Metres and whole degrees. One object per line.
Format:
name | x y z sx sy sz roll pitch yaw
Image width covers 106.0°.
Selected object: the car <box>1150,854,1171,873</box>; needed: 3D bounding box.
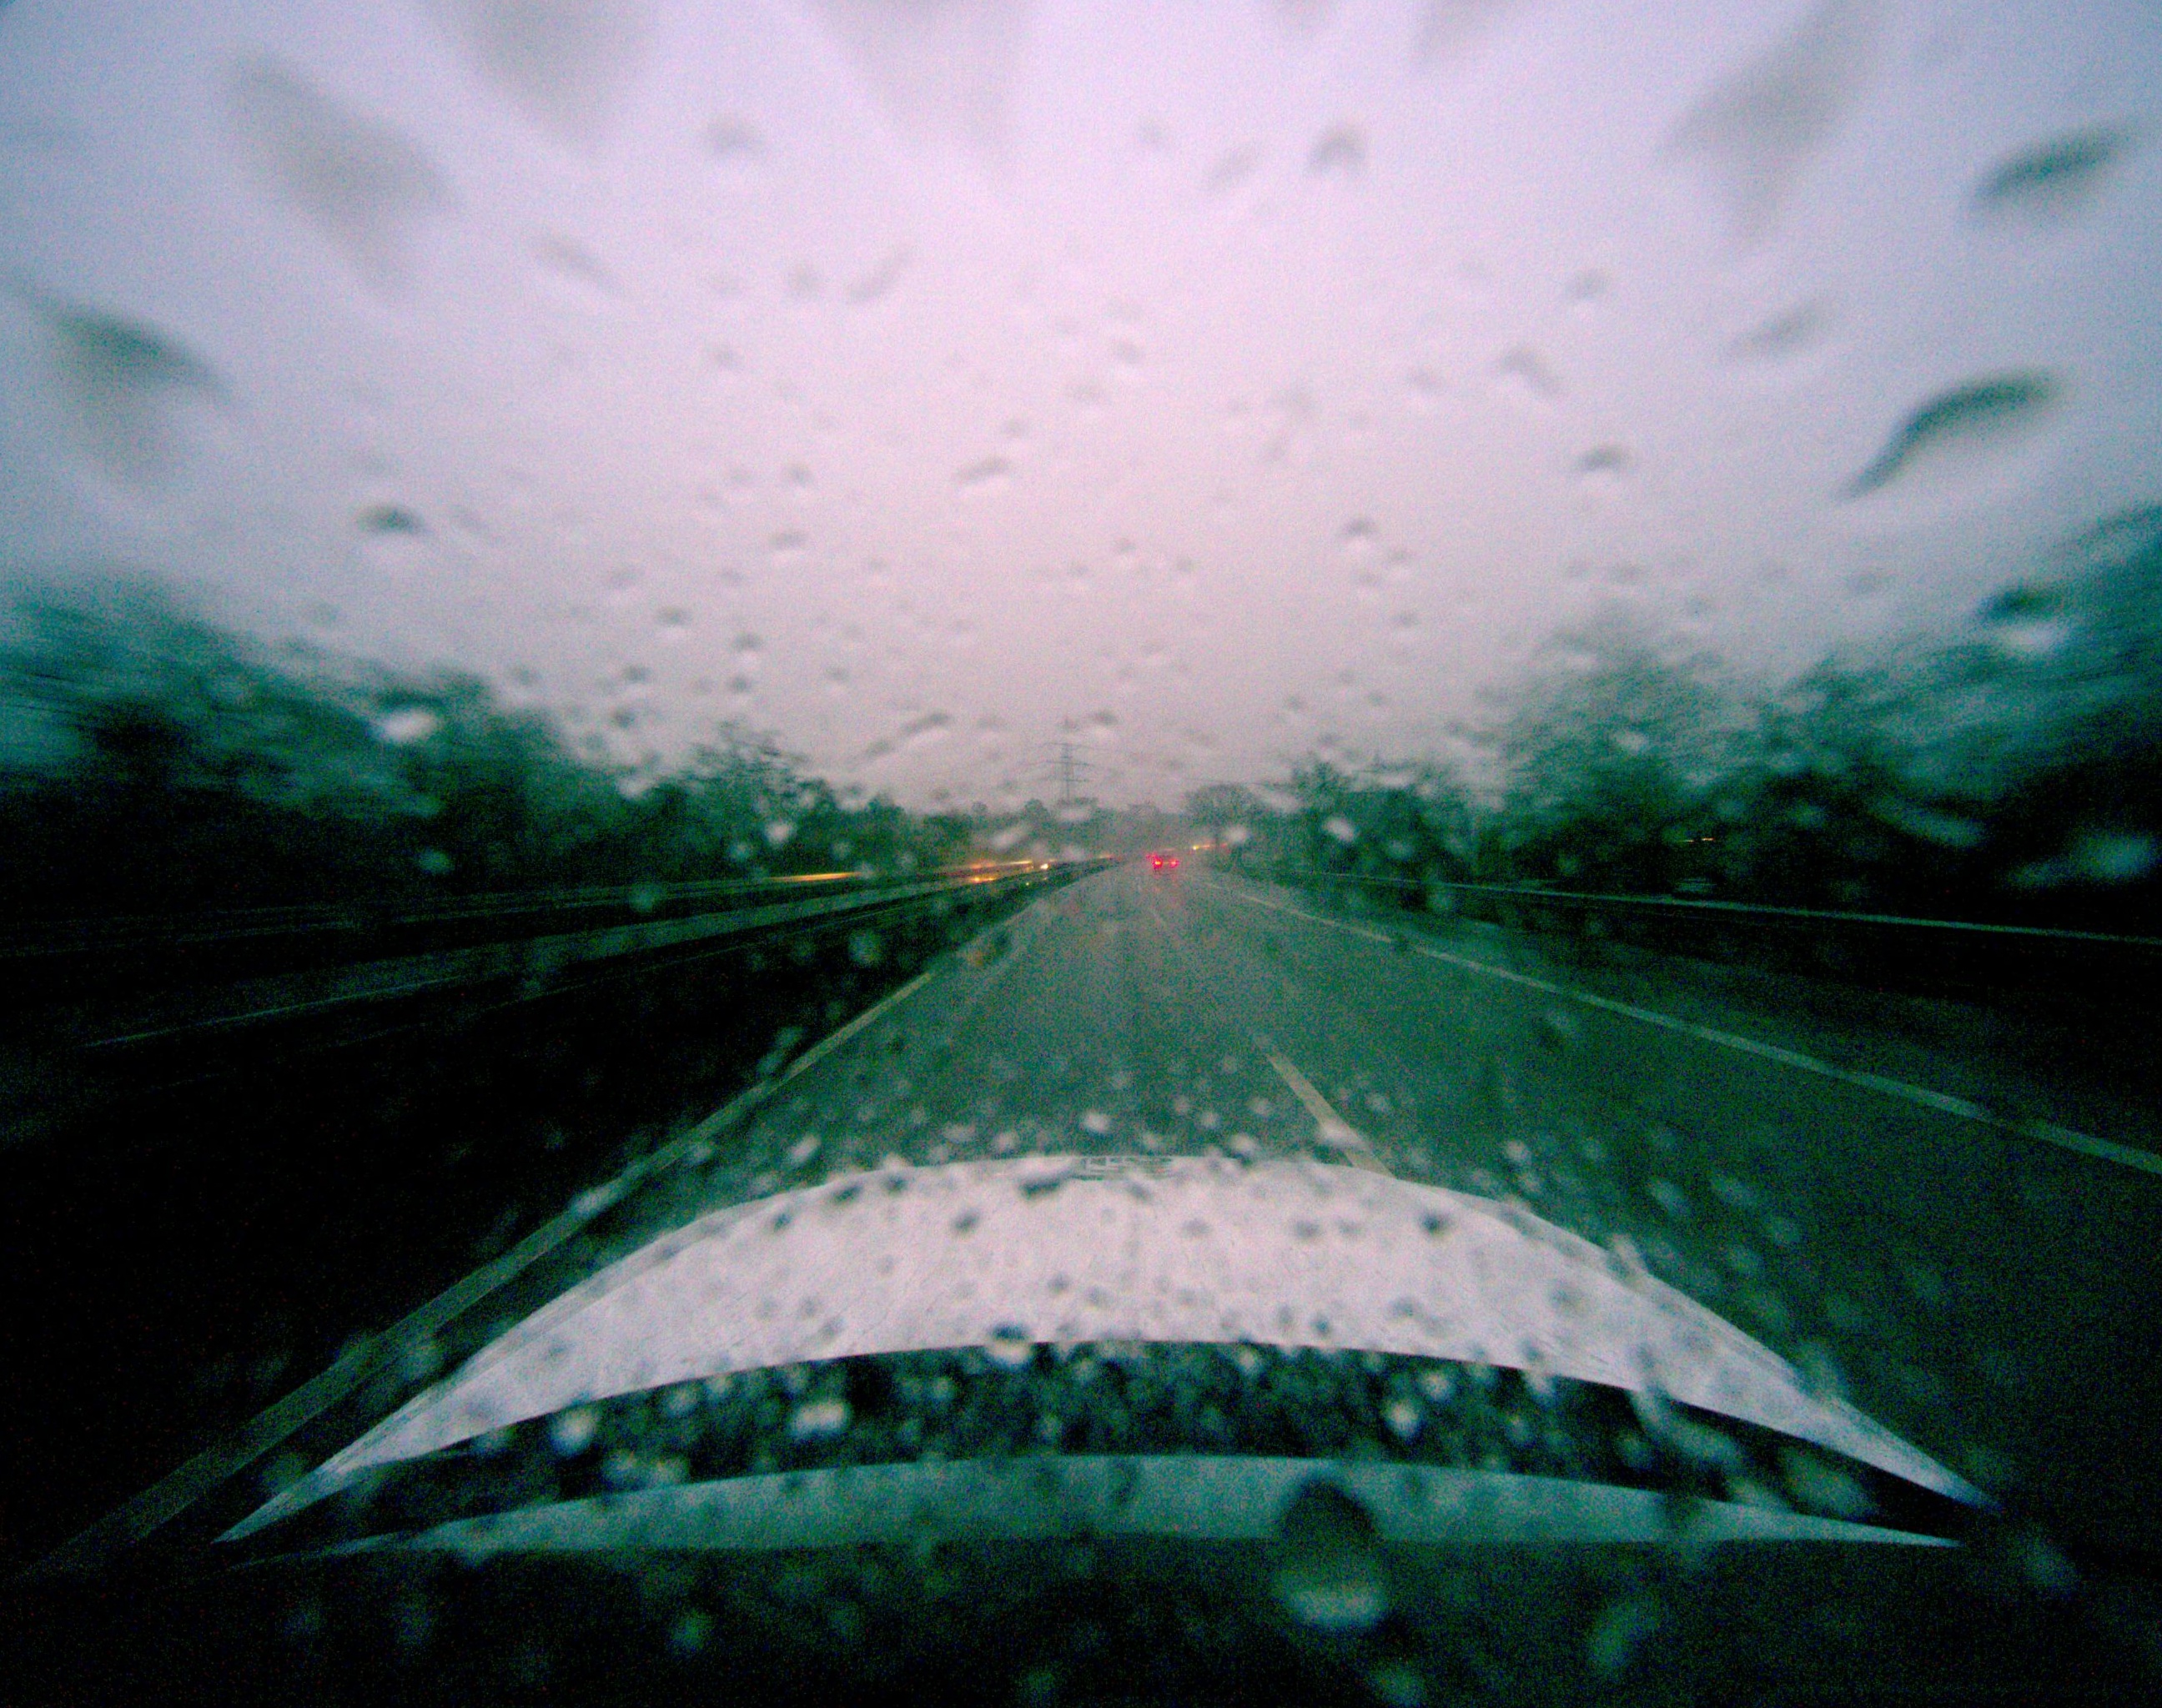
car | 6.733 0.764 69.033 1.669 1.508 3.815 -1 1 6
